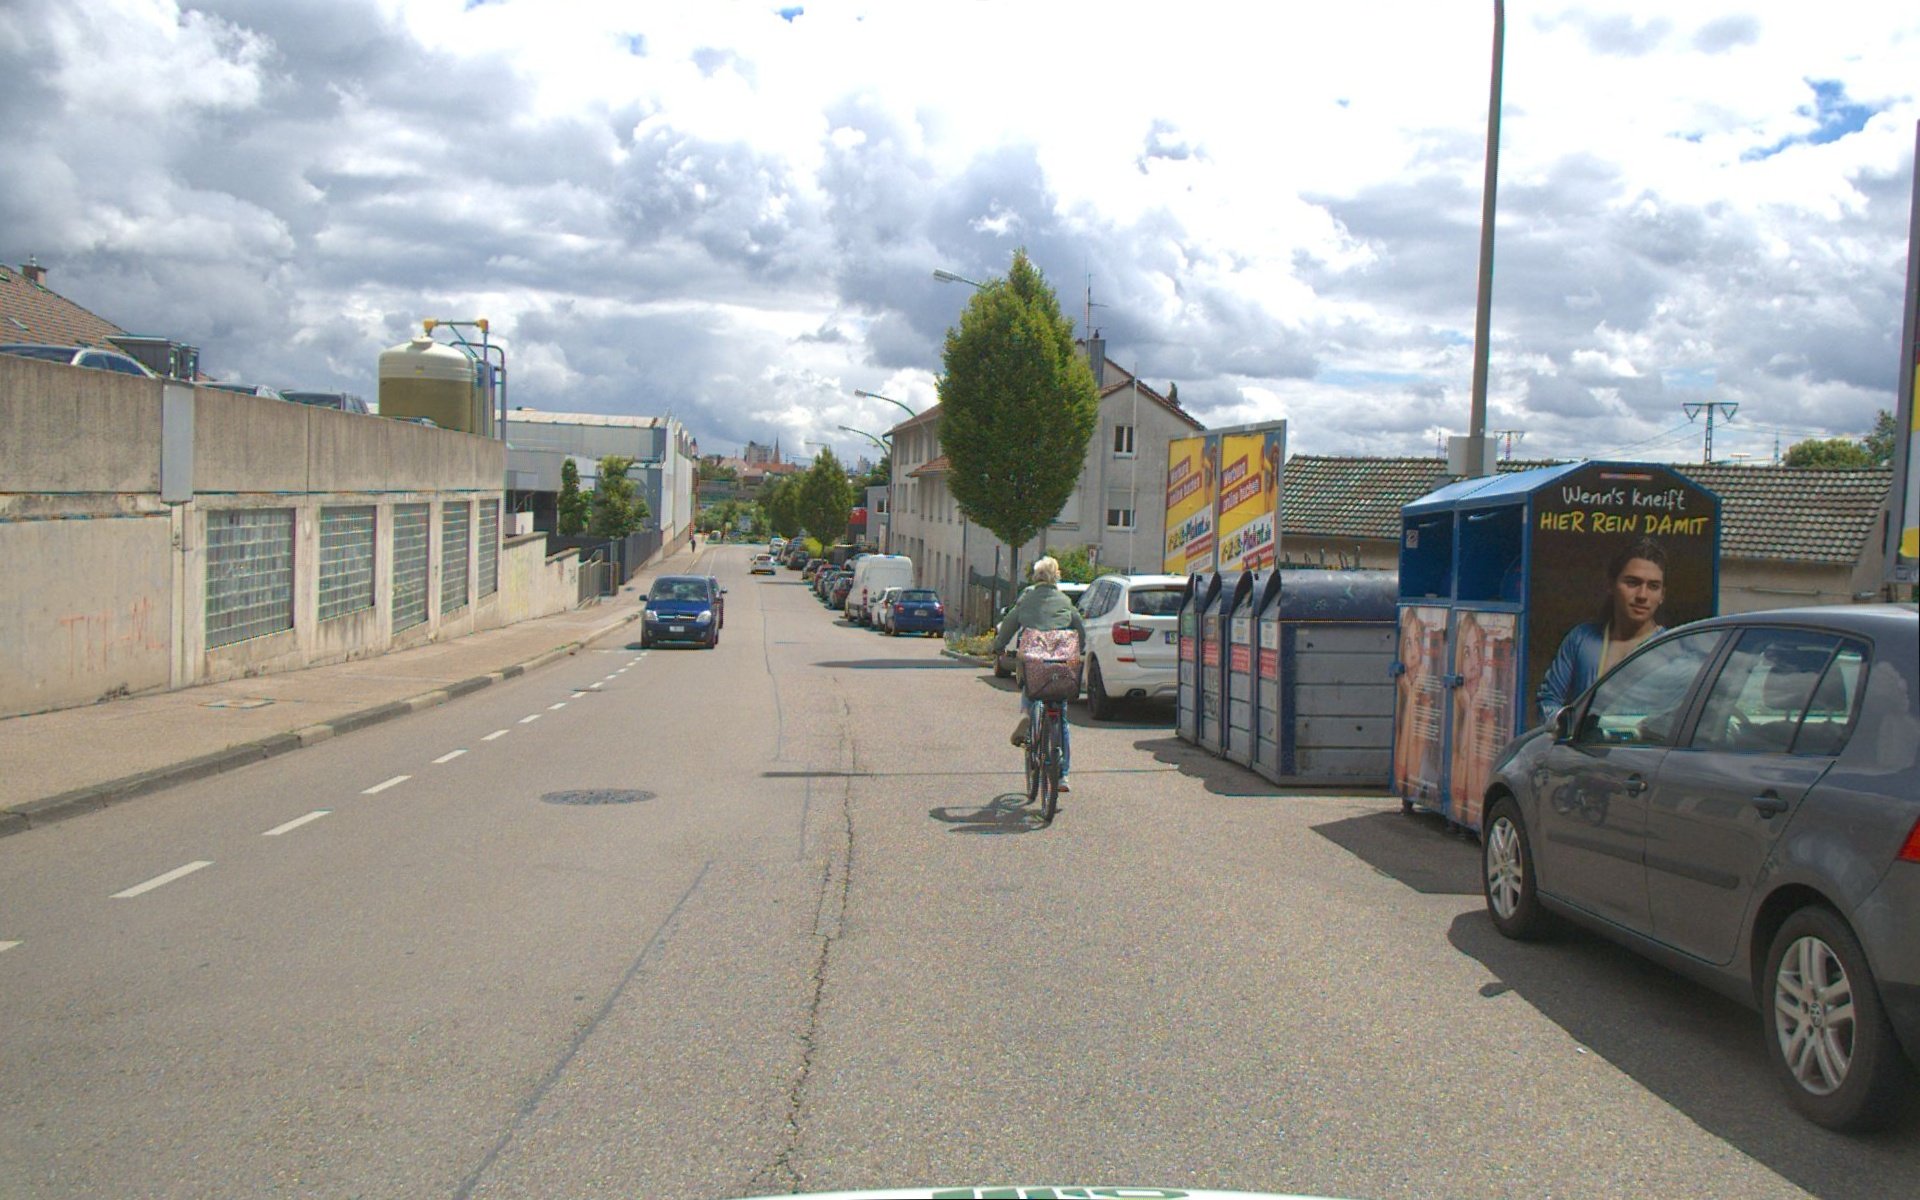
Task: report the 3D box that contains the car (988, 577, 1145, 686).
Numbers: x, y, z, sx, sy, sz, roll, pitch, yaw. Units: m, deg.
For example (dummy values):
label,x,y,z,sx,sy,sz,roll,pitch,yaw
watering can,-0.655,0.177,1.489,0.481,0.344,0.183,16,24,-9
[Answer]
label,x,y,z,sx,sy,sz,roll,pitch,yaw
car,1.605,0.438,26.487,1.806,1.592,4.460,0,0,-6

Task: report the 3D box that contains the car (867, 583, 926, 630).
label,x,y,z,sx,sy,sz,roll,pitch,yaw
car,-2.248,0.185,57.673,1.563,1.536,3.782,2,0,-9

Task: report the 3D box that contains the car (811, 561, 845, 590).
label,x,y,z,sx,sy,sz,roll,pitch,yaw
car,-7.819,-1.450,97.553,1.702,1.497,4.255,2,3,-8

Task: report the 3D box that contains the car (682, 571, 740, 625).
label,x,y,z,sx,sy,sz,roll,pitch,yaw
car,-7.982,-0.087,53.038,1.766,1.650,4.084,0,1,-9

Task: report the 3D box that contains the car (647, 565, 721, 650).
label,x,y,z,sx,sy,sz,roll,pitch,yaw
car,-6.370,0.153,38.233,1.596,1.849,3.772,0,0,-9

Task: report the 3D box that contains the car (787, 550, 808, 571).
label,x,y,z,sx,sy,sz,roll,pitch,yaw
car,-13.764,-3.382,139.642,1.647,1.666,4.118,2,2,-6

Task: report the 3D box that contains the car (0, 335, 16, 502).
label,x,y,z,sx,sy,sz,roll,pitch,yaw
car,-10.388,-1.850,14.869,1.771,1.665,4.099,2,0,-7

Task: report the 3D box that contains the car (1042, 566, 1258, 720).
label,x,y,z,sx,sy,sz,roll,pitch,yaw
car,2.232,0.464,20.660,1.653,1.688,4.473,1,0,-7

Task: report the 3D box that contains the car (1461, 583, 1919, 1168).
label,x,y,z,sx,sy,sz,roll,pitch,yaw
car,3.271,0.697,6.048,1.621,1.511,4.044,0,0,-1

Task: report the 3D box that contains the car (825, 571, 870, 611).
label,x,y,z,sx,sy,sz,roll,pitch,yaw
car,-5.472,-0.456,79.877,1.673,1.535,5.078,4,3,-9

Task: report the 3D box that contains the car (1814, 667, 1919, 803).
label,x,y,z,sx,sy,sz,roll,pitch,yaw
car,14.019,1.894,23.717,1.773,1.650,4.467,0,0,8

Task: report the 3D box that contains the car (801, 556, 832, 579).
label,x,y,z,sx,sy,sz,roll,pitch,yaw
car,-9.857,-2.254,113.490,1.758,1.491,4.699,2,2,-9

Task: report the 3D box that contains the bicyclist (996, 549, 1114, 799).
label,x,y,z,sx,sy,sz,roll,pitch,yaw
bicyclist,0.649,0.495,11.474,0.724,1.655,0.731,2,0,-1

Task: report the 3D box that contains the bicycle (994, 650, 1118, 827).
label,x,y,z,sx,sy,sz,roll,pitch,yaw
bicycle,0.632,0.915,11.473,0.725,0.992,1.733,2,2,0

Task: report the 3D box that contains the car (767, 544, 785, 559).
label,x,y,z,sx,sy,sz,roll,pitch,yaw
car,-22.029,-5.793,198.023,1.671,1.553,3.728,4,2,-12

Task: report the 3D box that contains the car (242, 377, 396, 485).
label,x,y,z,sx,sy,sz,roll,pitch,yaw
car,-12.425,-3.233,32.302,1.771,1.665,4.099,2,0,-7

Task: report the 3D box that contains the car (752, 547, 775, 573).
label,x,y,z,sx,sy,sz,roll,pitch,yaw
car,-14.444,-2.907,121.711,1.538,1.817,3.599,2,0,-8

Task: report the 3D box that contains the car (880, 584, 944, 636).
label,x,y,z,sx,sy,sz,roll,pitch,yaw
car,-1.560,0.288,52.770,1.538,1.536,4.086,2,0,-8

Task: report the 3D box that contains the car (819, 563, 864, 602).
label,x,y,z,sx,sy,sz,roll,pitch,yaw
car,-6.134,-0.940,85.400,1.647,1.666,4.784,3,3,-12

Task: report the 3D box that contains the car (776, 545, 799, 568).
label,x,y,z,sx,sy,sz,roll,pitch,yaw
car,-16.098,-4.113,154.401,1.834,2.024,5.135,2,2,-8

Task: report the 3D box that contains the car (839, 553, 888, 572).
label,x,y,z,sx,sy,sz,roll,pitch,yaw
car,-7.850,-3.026,134.101,4.005,1.488,1.714,1,4,44

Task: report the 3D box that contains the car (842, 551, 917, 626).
label,x,y,z,sx,sy,sz,roll,pitch,yaw
car,-3.173,-0.461,63.741,1.996,2.687,7.267,2,0,-9

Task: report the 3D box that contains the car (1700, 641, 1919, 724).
label,x,y,z,sx,sy,sz,roll,pitch,yaw
car,16.495,1.557,31.825,3.957,1.414,1.521,0,0,32
